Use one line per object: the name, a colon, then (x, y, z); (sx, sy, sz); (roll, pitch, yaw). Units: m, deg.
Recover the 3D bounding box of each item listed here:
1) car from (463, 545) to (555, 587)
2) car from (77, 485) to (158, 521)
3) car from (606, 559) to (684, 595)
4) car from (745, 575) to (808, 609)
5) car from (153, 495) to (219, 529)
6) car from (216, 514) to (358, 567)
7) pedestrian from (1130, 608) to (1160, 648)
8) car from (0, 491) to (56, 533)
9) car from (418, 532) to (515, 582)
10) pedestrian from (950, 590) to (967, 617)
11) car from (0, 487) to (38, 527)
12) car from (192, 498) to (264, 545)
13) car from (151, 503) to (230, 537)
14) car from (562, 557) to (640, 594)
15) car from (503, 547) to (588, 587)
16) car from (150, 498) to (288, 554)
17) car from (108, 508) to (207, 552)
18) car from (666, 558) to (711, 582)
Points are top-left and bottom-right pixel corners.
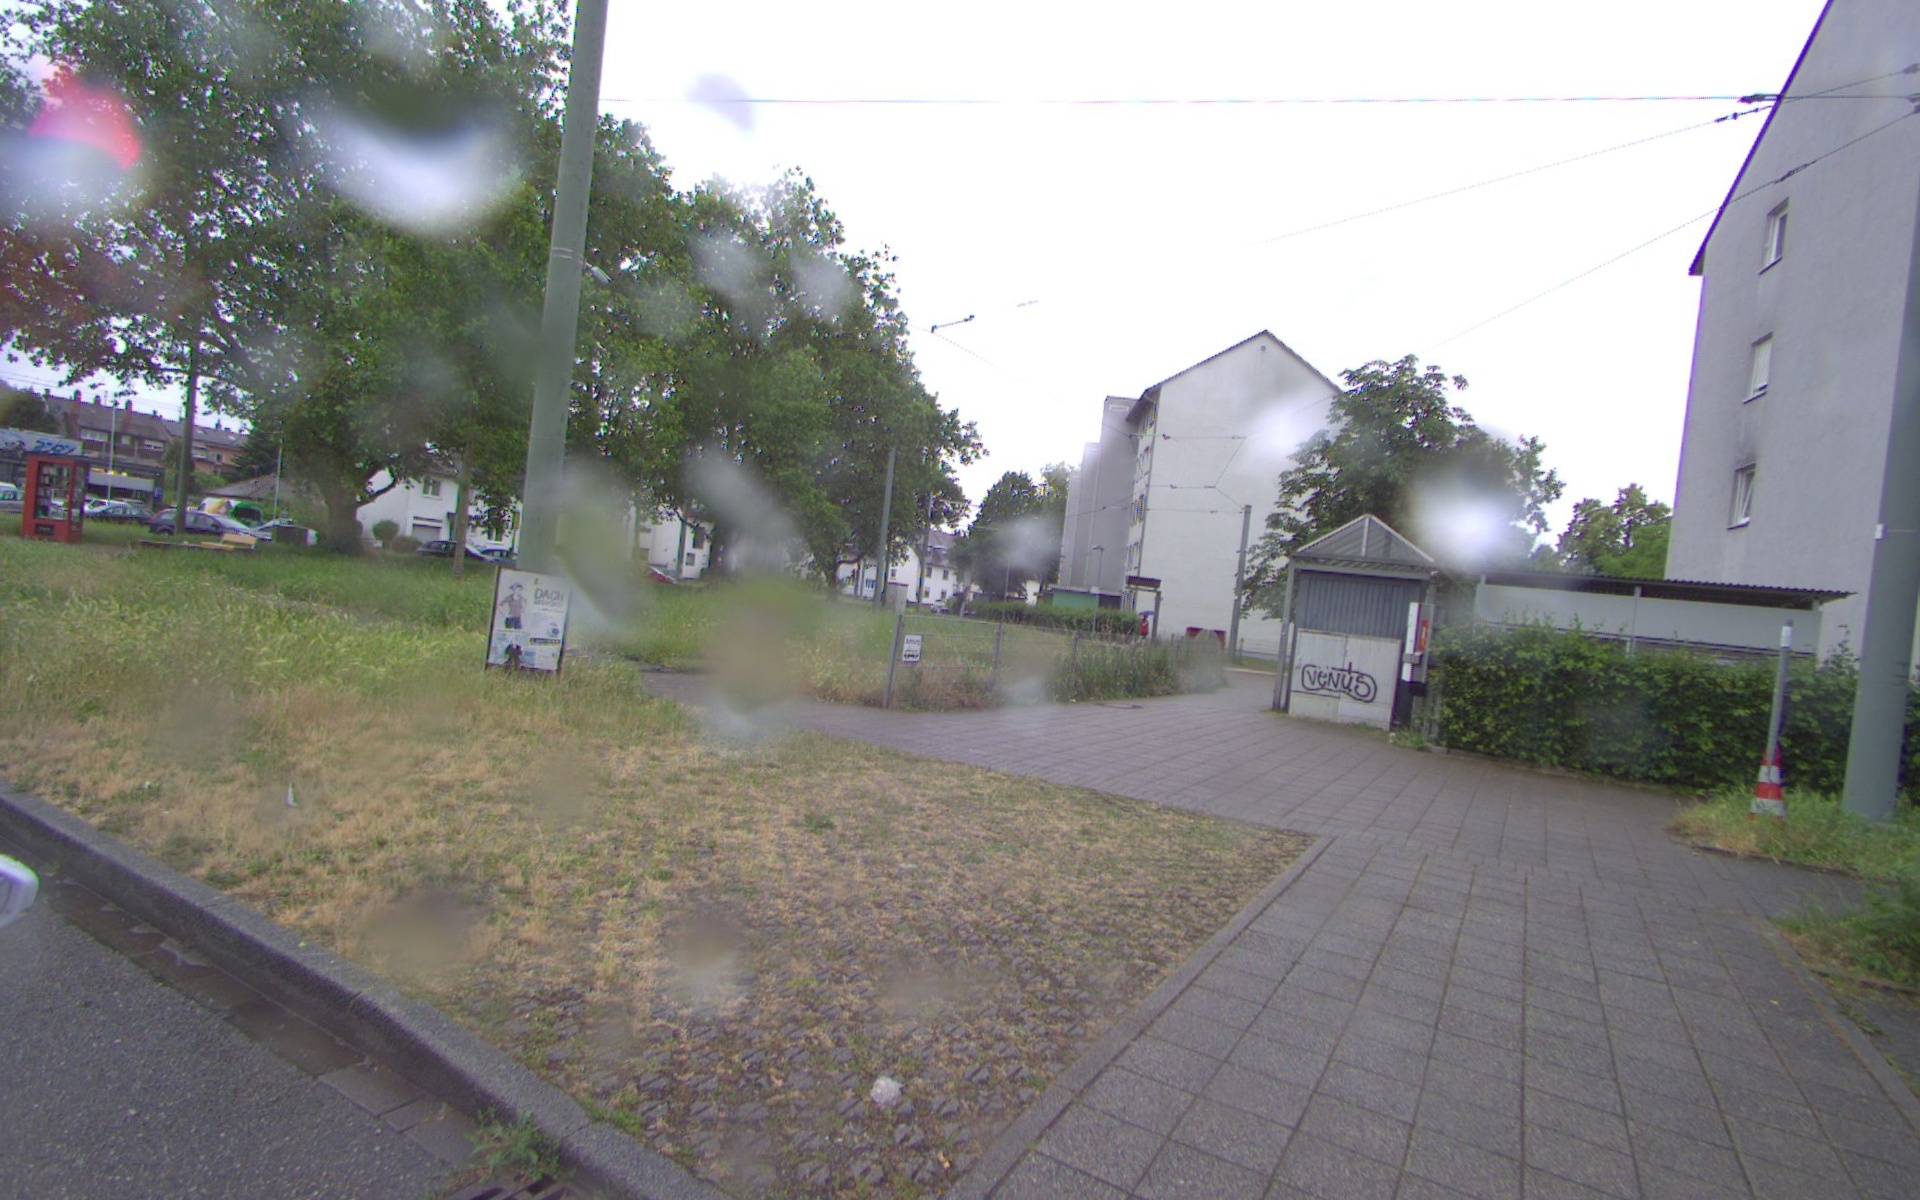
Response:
car: (-22.815, -1.681, 51.057); (3.855, 1.512, 1.806); (8, -2, -15)
car: (-61.492, -7.054, 73.465); (1.968, 1.811, 3.992); (6, -2, 34)
car: (-18.634, -1.329, 59.584); (3.842, 1.513, 1.812); (7, -2, 3)
car: (-12.749, -0.542, 70.098); (3.843, 1.785, 1.812); (7, -2, 0)
car: (-62.088, -7.037, 80.765); (3.924, 2.037, 2.003); (7, -2, 14)
car: (-25.164, -2.203, 37.704); (1.819, 1.300, 3.987); (6, -3, 39)
pedestrian: (8.276, 1.260, 45.067); (0.806, 1.674, 0.889); (6, -1, 41)
car: (-46.587, -4.426, 48.718); (1.859, 1.720, 3.692); (6, -2, 32)
car: (-23.734, -2.037, 48.524); (3.710, 1.819, 1.806); (8, -2, -15)
pedestrian: (-0.121, 0.282, 73.907); (1.022, 1.811, 0.818); (7, -1, -3)
car: (-54.729, -5.451, 56.343); (1.966, 1.973, 3.997); (6, -2, 30)
car: (-46.751, -5.051, 64.259); (4.280, 2.471, 1.998); (6, -2, 31)
car: (-55.473, -5.759, 72.595); (1.816, 1.658, 3.995); (6, -2, 32)
car: (-20.116, -1.355, 56.527); (3.855, 1.512, 1.806); (8, -2, -15)
car: (-21.983, -1.723, 53.493); (3.855, 1.512, 1.806); (8, -2, -15)
car: (-29.196, -2.892, 39.777); (3.855, 1.512, 1.806); (8, -2, -15)
car: (-43.432, -3.778, 54.501); (1.859, 1.720, 3.692); (6, -2, 32)
car: (-25.723, -2.794, 95.518); (1.859, 1.679, 3.692); (6, -2, 32)
